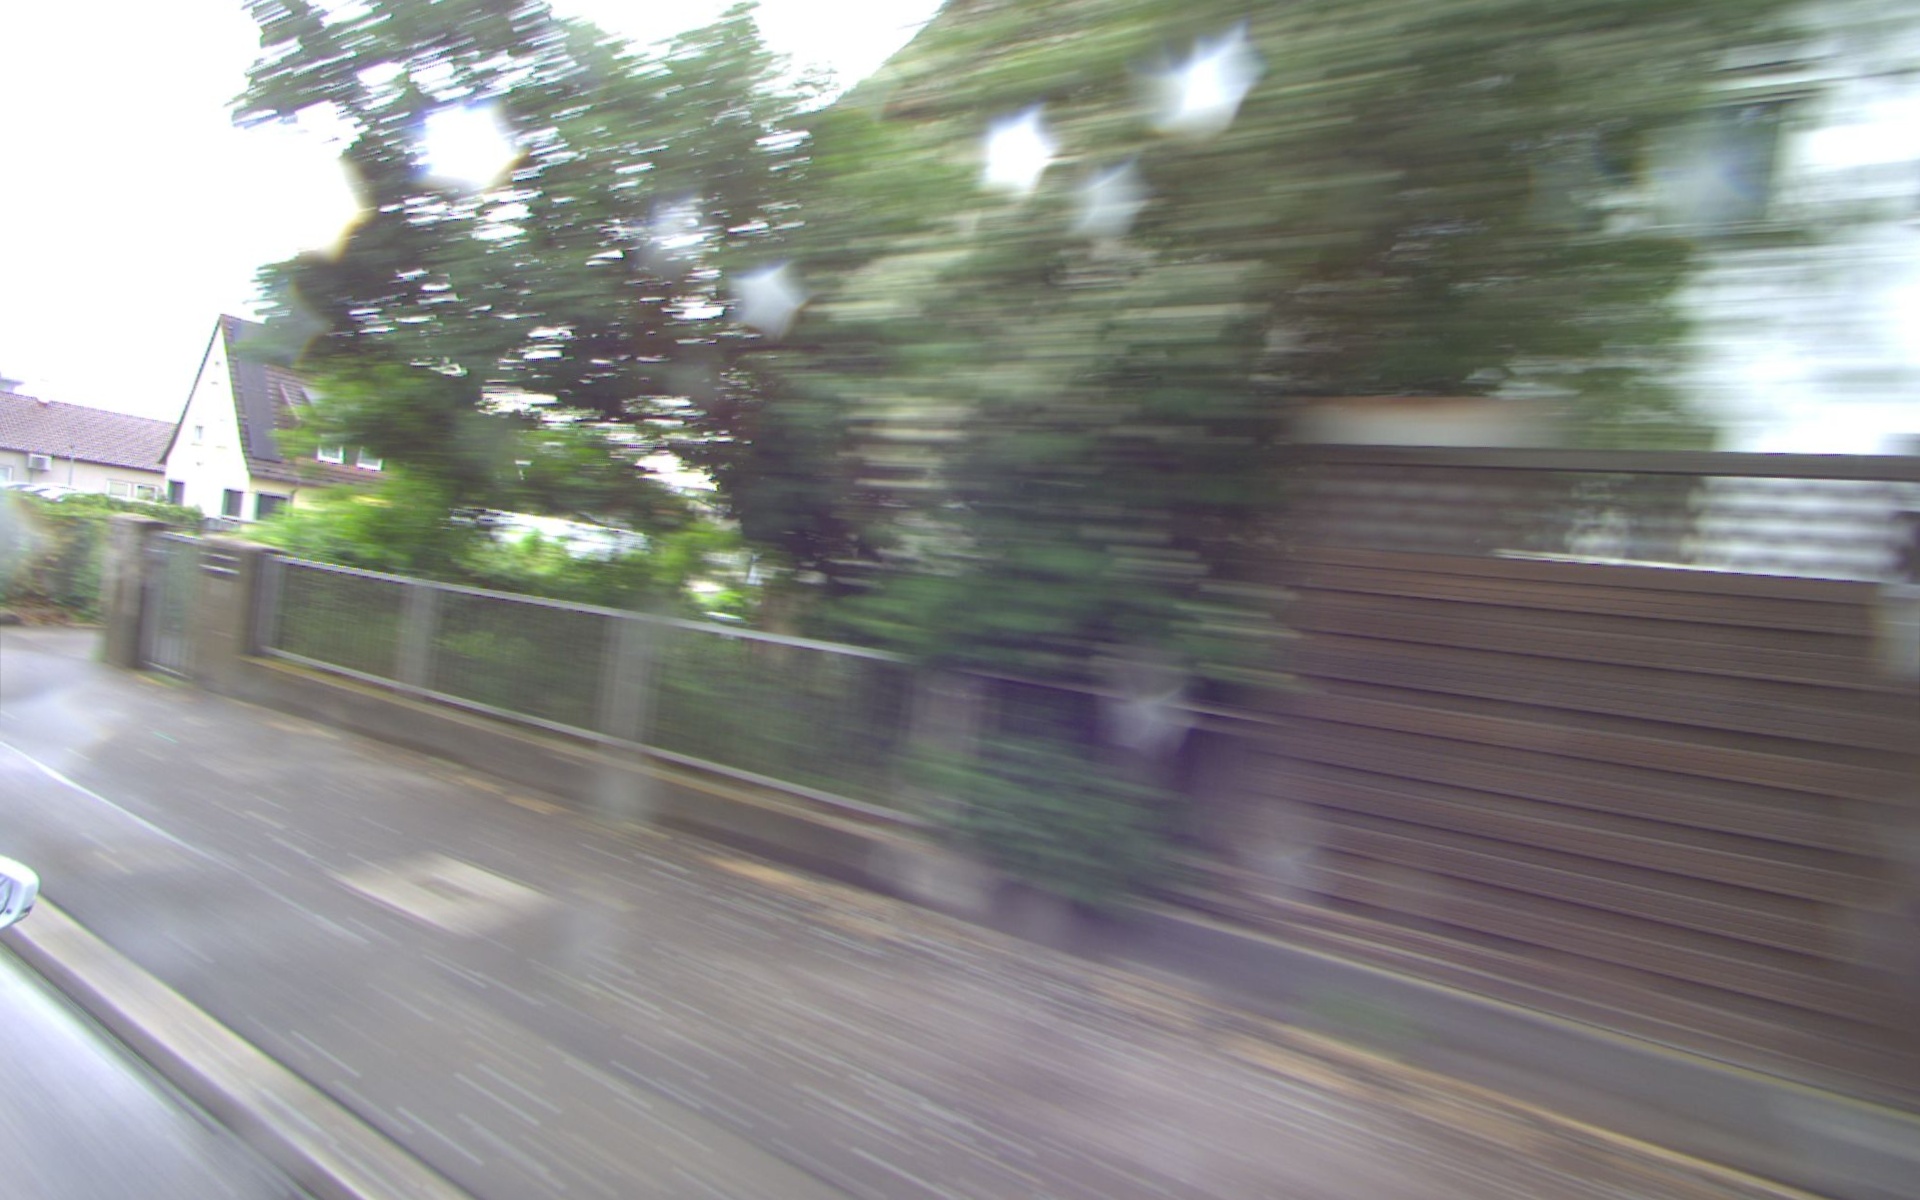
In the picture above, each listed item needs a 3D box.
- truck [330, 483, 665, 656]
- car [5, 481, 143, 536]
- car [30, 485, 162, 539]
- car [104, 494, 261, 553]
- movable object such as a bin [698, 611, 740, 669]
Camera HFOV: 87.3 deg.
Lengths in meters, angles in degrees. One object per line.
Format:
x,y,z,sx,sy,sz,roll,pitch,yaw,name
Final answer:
-9.064,-0.450,20.440,2.010,2.667,5.857,6,-2,31,truck
-38.665,-3.984,43.999,1.764,1.618,4.094,6,-2,30,car
-36.494,-3.677,42.595,1.728,1.550,3.774,7,-2,28,car
-31.008,-3.026,40.266,1.839,1.647,4.508,7,0,31,car
-4.849,0.804,20.224,0.603,1.087,0.395,6,-1,30,movable object such as a bin
